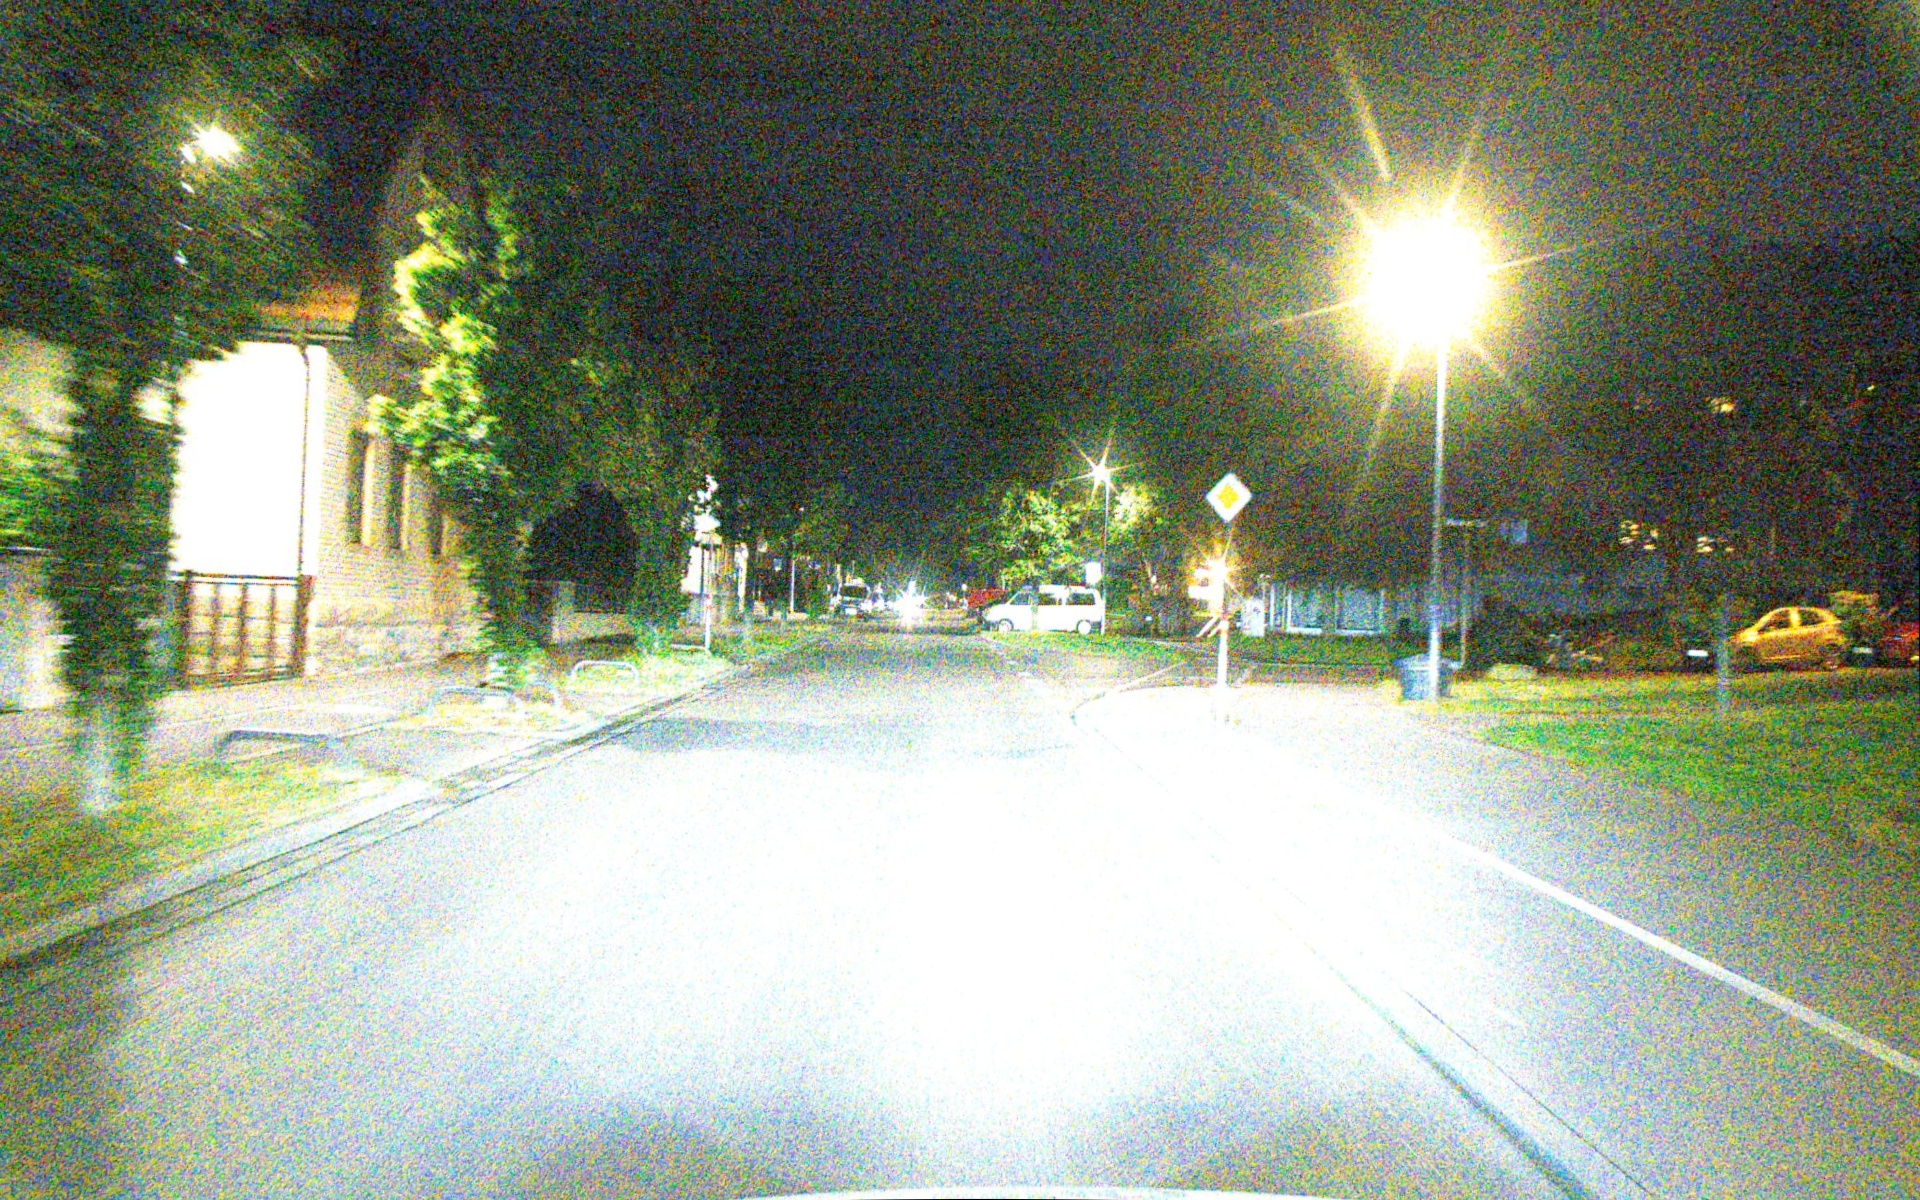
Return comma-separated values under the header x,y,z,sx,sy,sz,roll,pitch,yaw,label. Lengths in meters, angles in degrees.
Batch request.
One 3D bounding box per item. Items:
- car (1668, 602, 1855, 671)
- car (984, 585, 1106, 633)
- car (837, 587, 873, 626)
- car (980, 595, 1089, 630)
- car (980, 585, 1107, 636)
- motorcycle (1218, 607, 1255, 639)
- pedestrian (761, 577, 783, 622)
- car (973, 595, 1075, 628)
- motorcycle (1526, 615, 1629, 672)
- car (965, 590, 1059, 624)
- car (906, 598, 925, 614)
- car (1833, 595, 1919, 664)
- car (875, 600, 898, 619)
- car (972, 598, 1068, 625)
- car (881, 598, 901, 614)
x,y,z,sx,sy,sz,roll,pitch,yaw,label
18.343,0.802,37.902,3.561,1.505,1.856,0,0,-17,car
3.644,0.384,71.417,5.078,2.049,2.101,0,0,-2,car
-5.801,0.356,92.047,1.788,2.021,4.463,3,0,-2,car
3.530,0.583,79.394,5.078,1.622,2.101,0,0,-2,car
3.430,0.417,68.276,5.078,2.049,2.101,0,0,-2,car
12.458,1.036,74.504,1.048,1.350,2.706,2,1,22,motorcycle
-8.745,-0.029,76.991,0.769,2.048,1.204,3,0,-1,pedestrian
3.269,0.585,84.881,5.078,1.622,2.101,0,0,-2,car
13.953,0.970,37.382,2.222,1.235,0.708,0,0,-17,motorcycle
2.926,0.388,93.061,5.072,1.920,2.103,0,0,8,car
-4.594,0.599,171.206,1.888,1.677,3.819,0,0,-2,car
23.001,0.681,39.559,3.963,1.575,1.602,0,0,-22,car
-5.549,0.692,124.627,1.649,1.354,3.598,2,0,-2,car
3.262,0.621,90.396,5.078,1.495,2.101,0,0,-2,car
-5.872,0.507,140.730,1.649,1.354,3.598,2,0,-2,car
